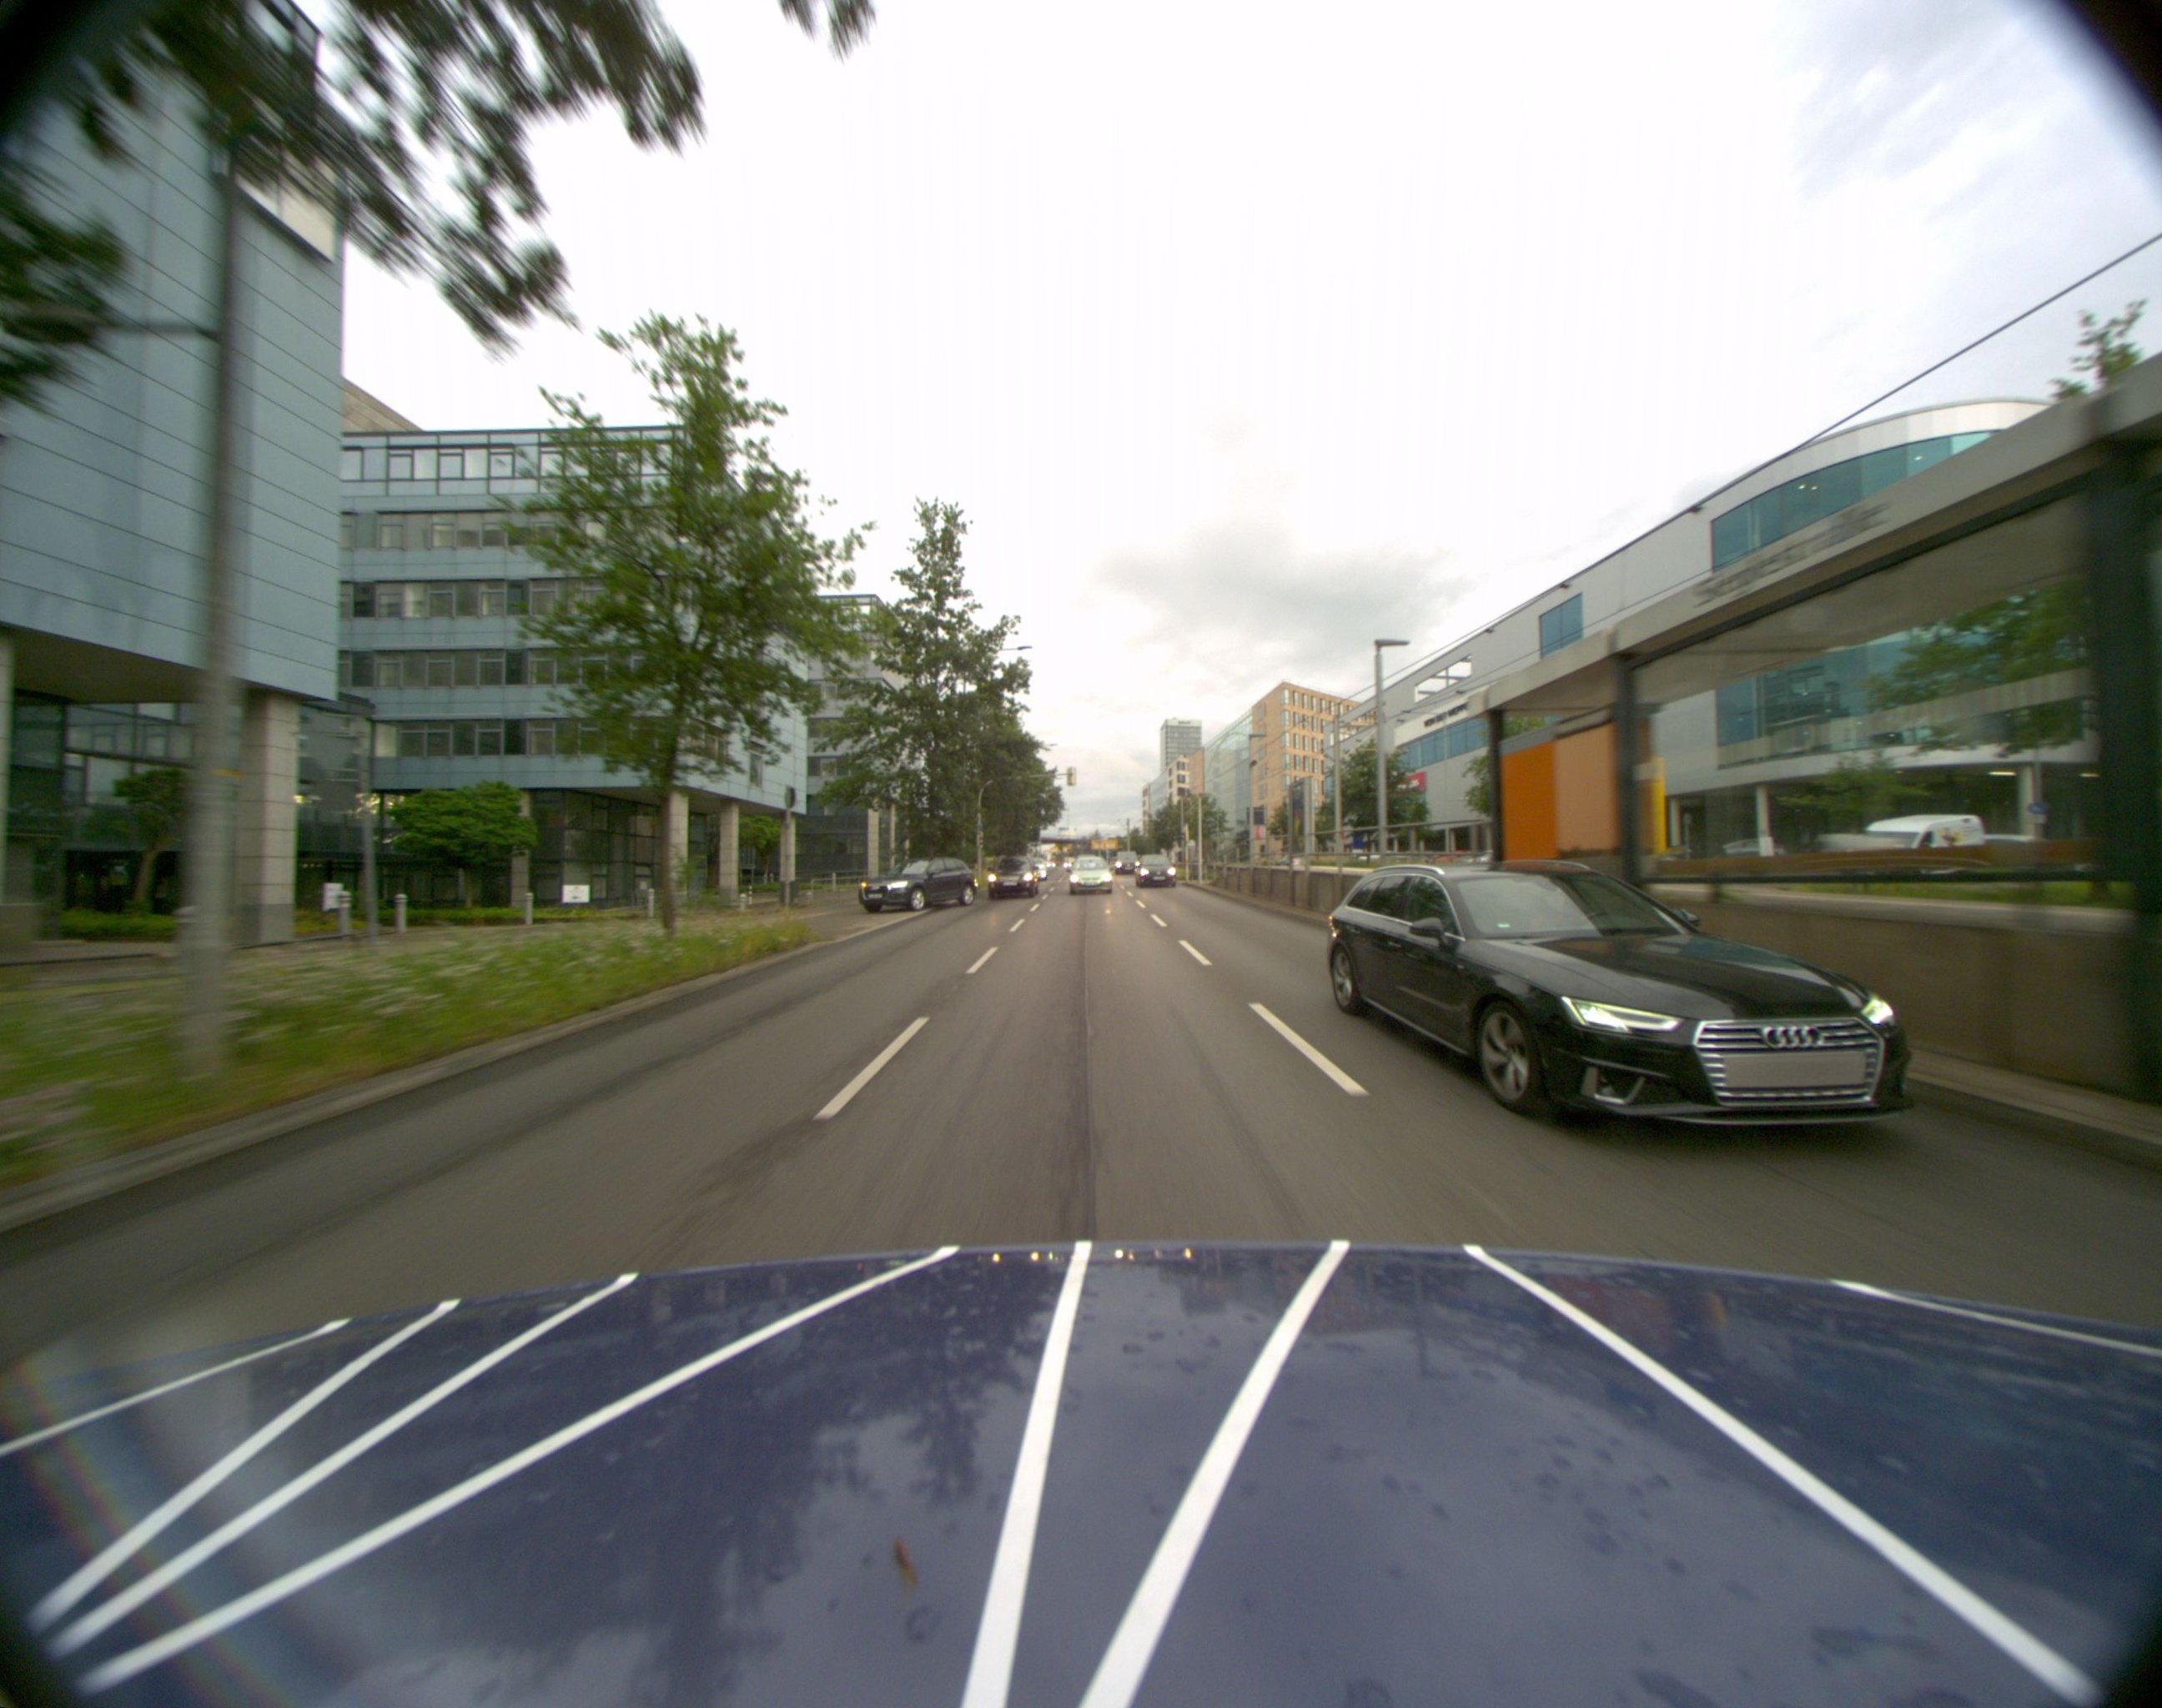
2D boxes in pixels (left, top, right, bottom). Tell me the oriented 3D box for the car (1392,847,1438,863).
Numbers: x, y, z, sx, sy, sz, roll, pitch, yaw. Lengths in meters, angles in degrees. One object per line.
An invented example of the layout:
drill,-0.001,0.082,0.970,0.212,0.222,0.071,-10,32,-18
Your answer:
car,32.468,0.076,73.811,3.845,1.482,1.821,-2,0,-18

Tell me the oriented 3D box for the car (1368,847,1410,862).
car,32.126,0.036,79.251,3.845,1.482,1.821,-2,0,-18

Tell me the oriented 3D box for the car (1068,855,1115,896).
car,0.421,0.847,31.808,1.803,1.533,4.374,-2,0,0

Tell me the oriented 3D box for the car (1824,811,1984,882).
car,33.950,-0.349,31.377,5.488,2.614,2.276,-3,1,-17

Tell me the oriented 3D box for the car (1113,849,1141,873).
car,3.339,0.496,55.703,1.781,1.670,4.131,-2,0,0

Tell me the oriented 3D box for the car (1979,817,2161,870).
car,41.035,-0.435,31.440,5.483,1.915,2.278,-2,1,-6

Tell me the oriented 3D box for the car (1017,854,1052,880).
car,-2.920,0.780,48.247,1.873,1.533,4.107,-2,0,0

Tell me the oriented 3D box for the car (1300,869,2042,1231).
car,3.231,0.891,5.675,1.794,1.426,4.828,-2,0,0

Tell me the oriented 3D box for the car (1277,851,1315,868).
car,19.166,0.481,68.031,1.998,1.381,4.873,-2,1,0

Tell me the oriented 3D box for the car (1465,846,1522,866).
car,32.845,0.173,60.575,3.845,1.482,1.821,-2,0,-18

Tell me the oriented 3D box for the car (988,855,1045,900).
car,-2.528,0.877,30.769,1.816,1.660,4.548,-2,0,0

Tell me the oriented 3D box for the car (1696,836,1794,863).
car,38.163,-0.241,43.766,1.775,1.460,3.989,-2,0,-39

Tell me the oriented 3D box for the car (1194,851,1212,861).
car,19.385,0.372,120.976,1.998,1.428,4.873,-2,1,0

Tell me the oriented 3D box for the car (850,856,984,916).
car,-5.143,0.958,24.416,1.813,1.660,4.378,-1,0,27

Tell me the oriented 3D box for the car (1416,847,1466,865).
car,32.418,0.172,68.383,3.845,1.482,1.821,-2,0,-18

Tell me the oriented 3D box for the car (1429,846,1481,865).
car,32.271,0.134,65.538,3.845,1.482,1.821,-2,0,-18

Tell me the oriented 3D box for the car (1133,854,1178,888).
car,3.456,0.753,35.852,1.798,1.493,4.000,-2,0,1

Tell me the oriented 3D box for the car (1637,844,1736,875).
car,32.562,0.274,40.916,3.999,1.499,1.896,-2,1,-8
